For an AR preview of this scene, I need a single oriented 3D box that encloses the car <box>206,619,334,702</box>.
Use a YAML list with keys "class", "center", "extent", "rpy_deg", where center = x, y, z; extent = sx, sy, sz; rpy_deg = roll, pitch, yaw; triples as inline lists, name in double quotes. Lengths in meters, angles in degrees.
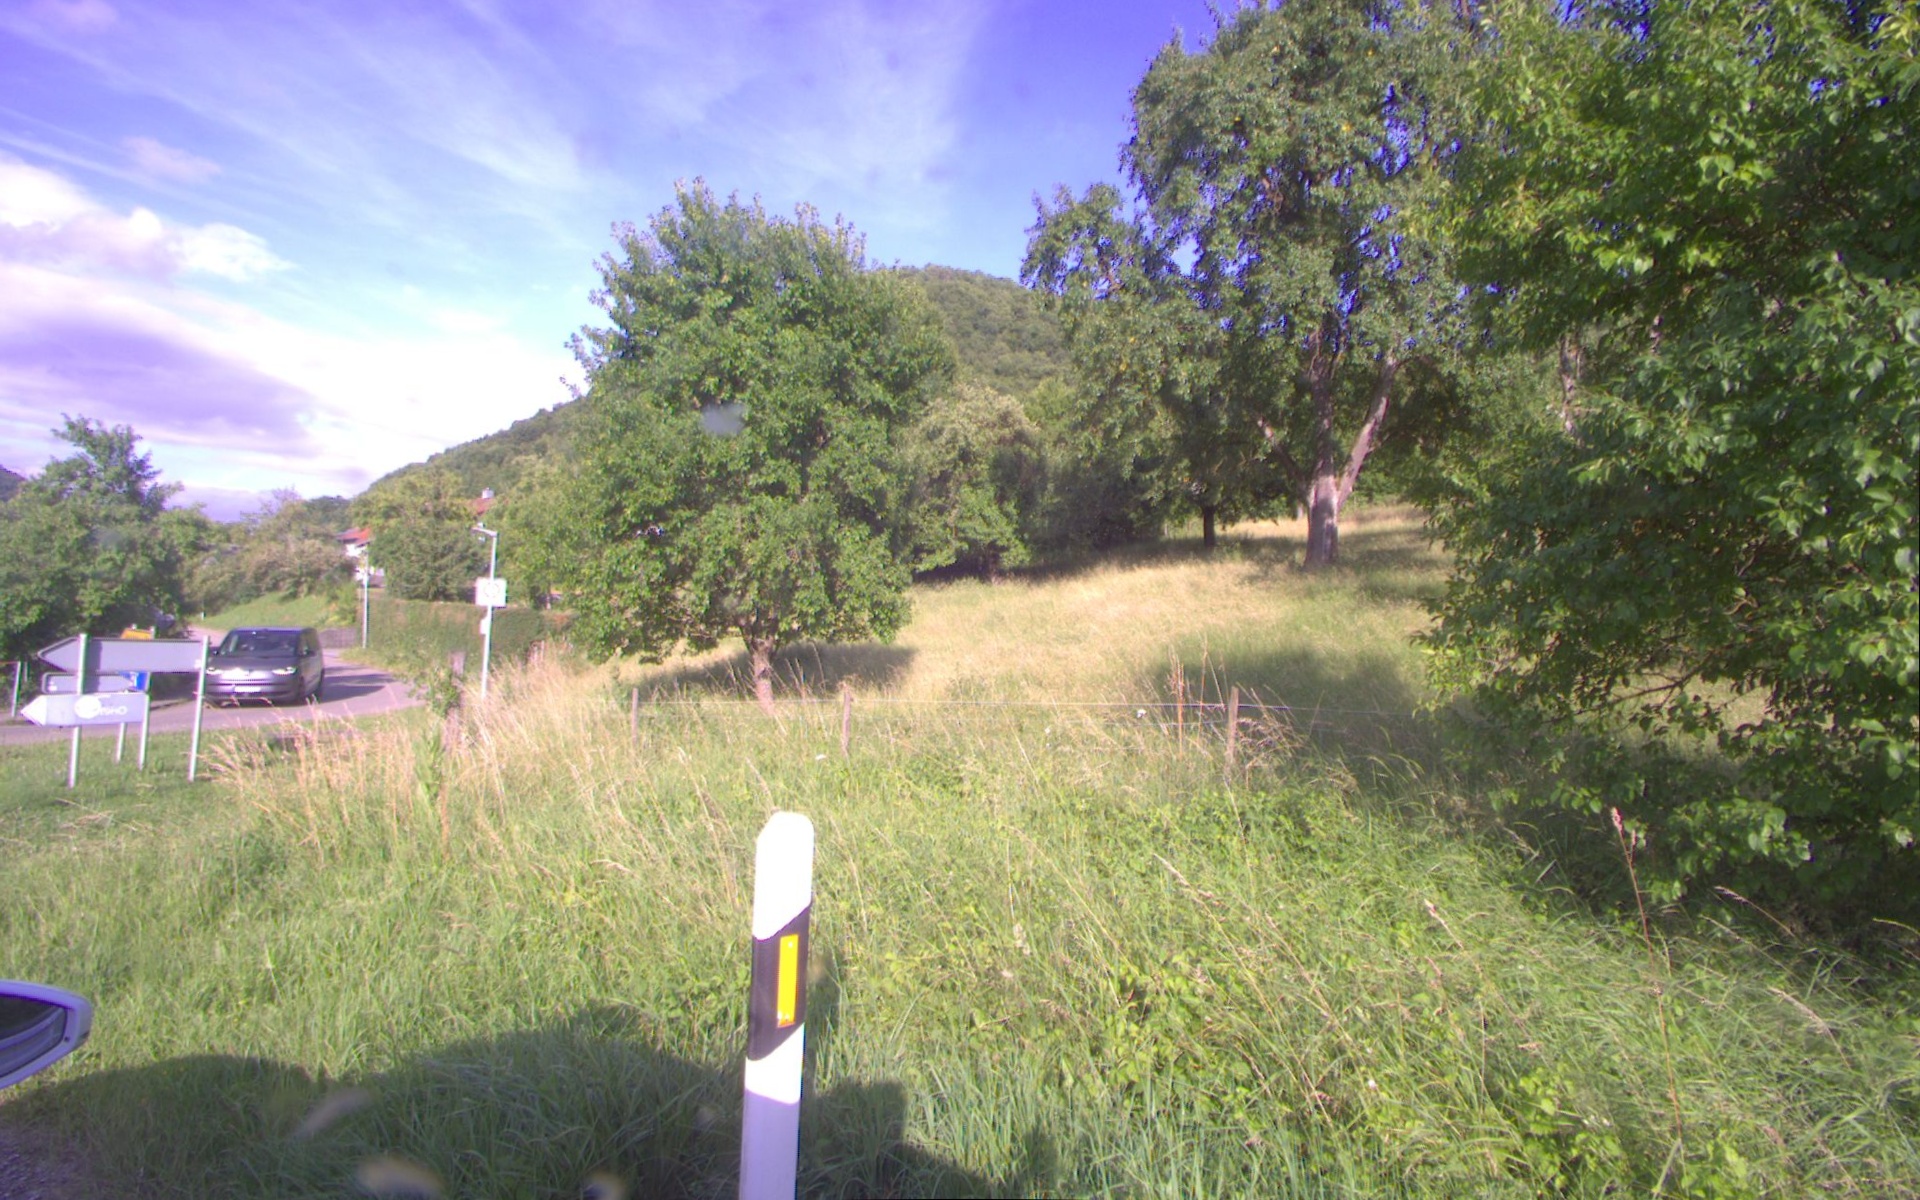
- class: "car"
  center: [-17.486, 1.504, 25.632]
  extent: [1.970, 1.900, 4.851]
  rpy_deg: [3, -3, -27]
